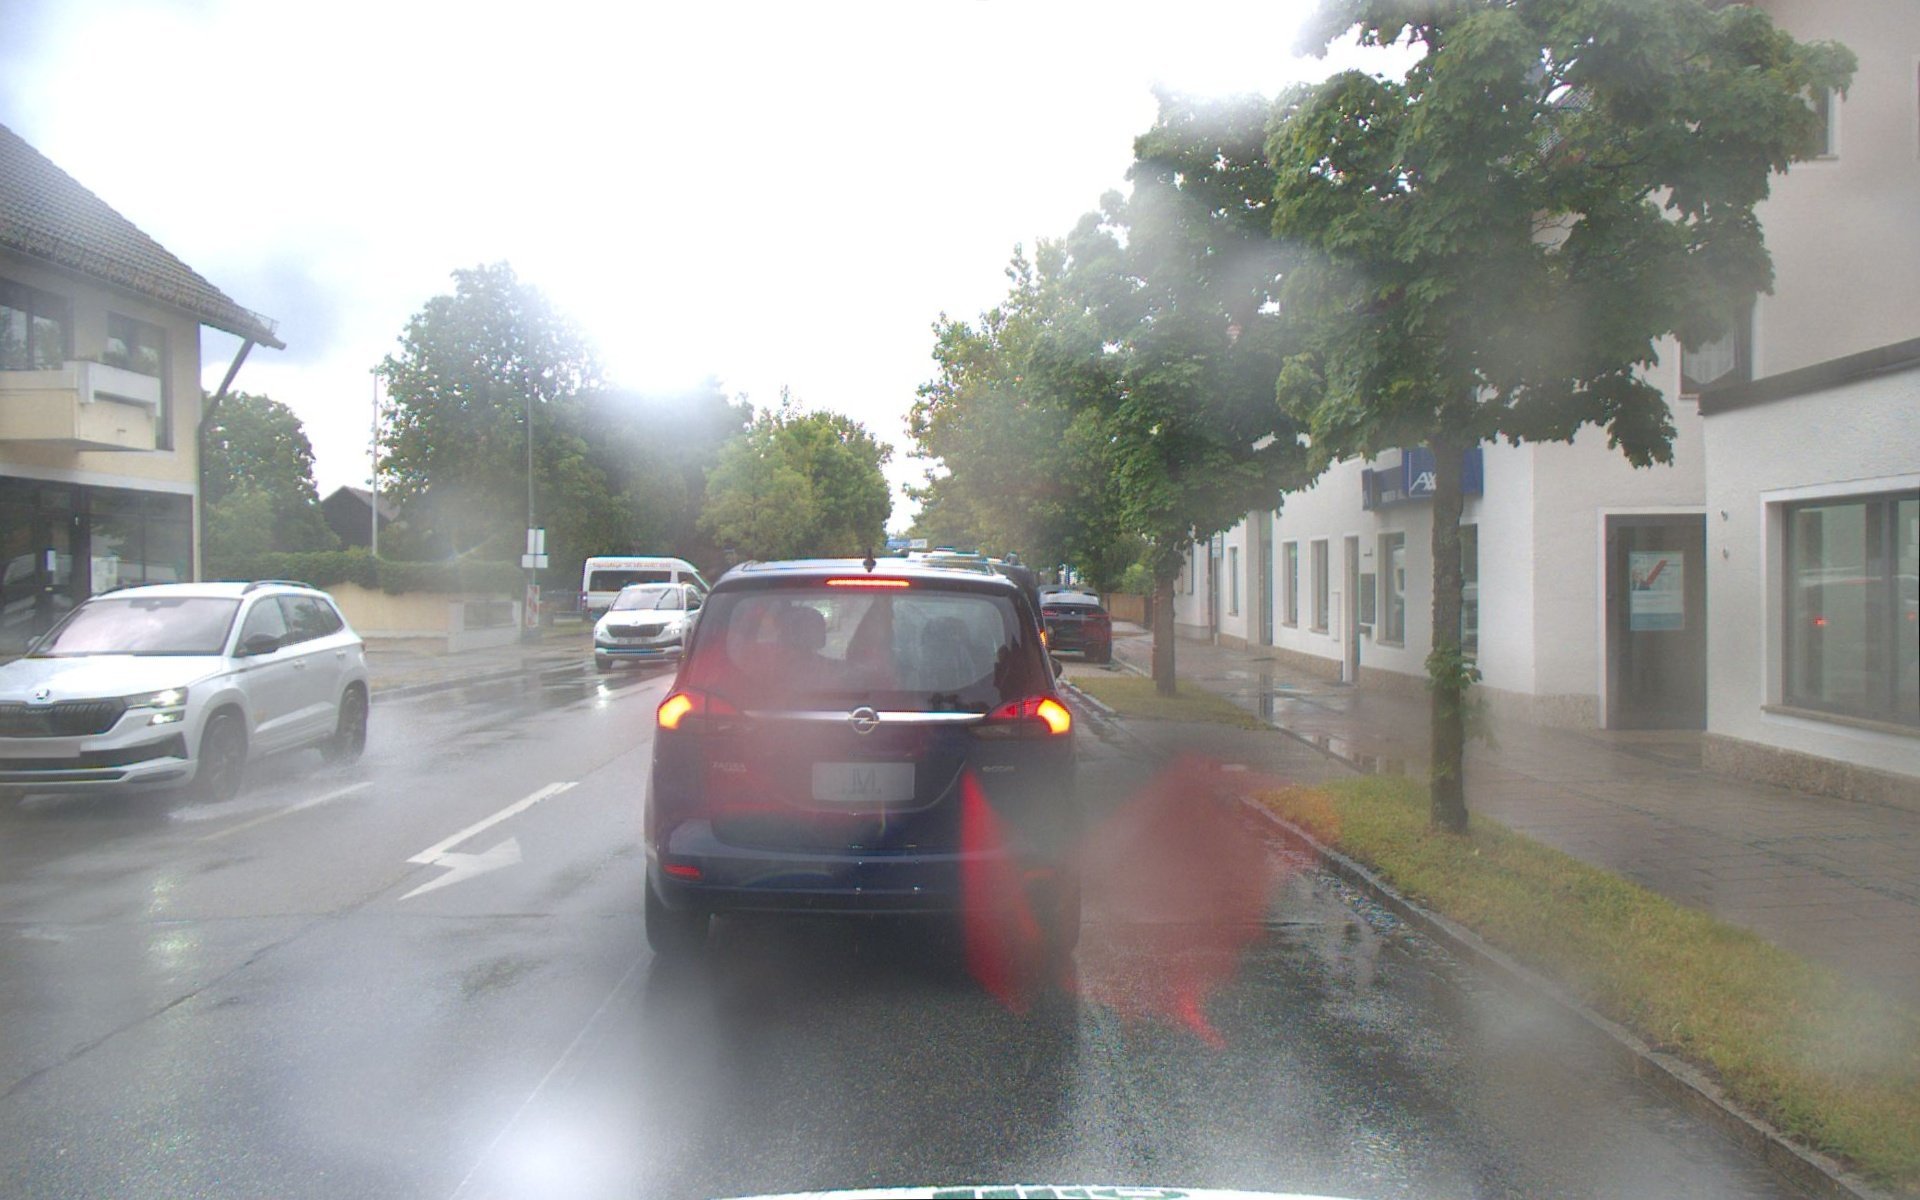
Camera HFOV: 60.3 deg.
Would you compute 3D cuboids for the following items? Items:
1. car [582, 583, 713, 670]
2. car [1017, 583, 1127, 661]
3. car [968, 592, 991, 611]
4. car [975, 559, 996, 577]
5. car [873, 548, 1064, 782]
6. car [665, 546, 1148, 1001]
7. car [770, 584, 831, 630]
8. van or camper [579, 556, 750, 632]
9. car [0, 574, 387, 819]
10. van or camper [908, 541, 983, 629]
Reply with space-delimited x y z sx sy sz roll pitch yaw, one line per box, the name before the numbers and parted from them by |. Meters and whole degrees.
car | -6.107 0.478 32.782 1.888 1.594 4.125 -1 0 -2
car | 2.437 0.464 37.037 2.075 1.609 3.934 1 0 -2
car | 1.449 0.106 125.791 1.597 1.402 3.622 1 0 -1
car | 2.096 -2.591 135.317 1.597 1.402 3.622 -1 0 -1
car | 0.044 0.502 14.554 1.470 1.807 3.111 1 0 -1
car | -0.220 0.619 7.818 1.733 1.632 3.662 1 0 -1
car | -5.699 0.236 59.414 1.716 1.537 4.230 -2 0 0
van or camper | -11.032 -0.229 62.158 6.126 2.754 2.099 0 0 -6
car | -6.173 0.638 12.987 1.927 1.590 4.151 -1 0 -1
van or camper | -0.489 -0.488 53.899 2.312 2.712 5.370 0 0 -1
